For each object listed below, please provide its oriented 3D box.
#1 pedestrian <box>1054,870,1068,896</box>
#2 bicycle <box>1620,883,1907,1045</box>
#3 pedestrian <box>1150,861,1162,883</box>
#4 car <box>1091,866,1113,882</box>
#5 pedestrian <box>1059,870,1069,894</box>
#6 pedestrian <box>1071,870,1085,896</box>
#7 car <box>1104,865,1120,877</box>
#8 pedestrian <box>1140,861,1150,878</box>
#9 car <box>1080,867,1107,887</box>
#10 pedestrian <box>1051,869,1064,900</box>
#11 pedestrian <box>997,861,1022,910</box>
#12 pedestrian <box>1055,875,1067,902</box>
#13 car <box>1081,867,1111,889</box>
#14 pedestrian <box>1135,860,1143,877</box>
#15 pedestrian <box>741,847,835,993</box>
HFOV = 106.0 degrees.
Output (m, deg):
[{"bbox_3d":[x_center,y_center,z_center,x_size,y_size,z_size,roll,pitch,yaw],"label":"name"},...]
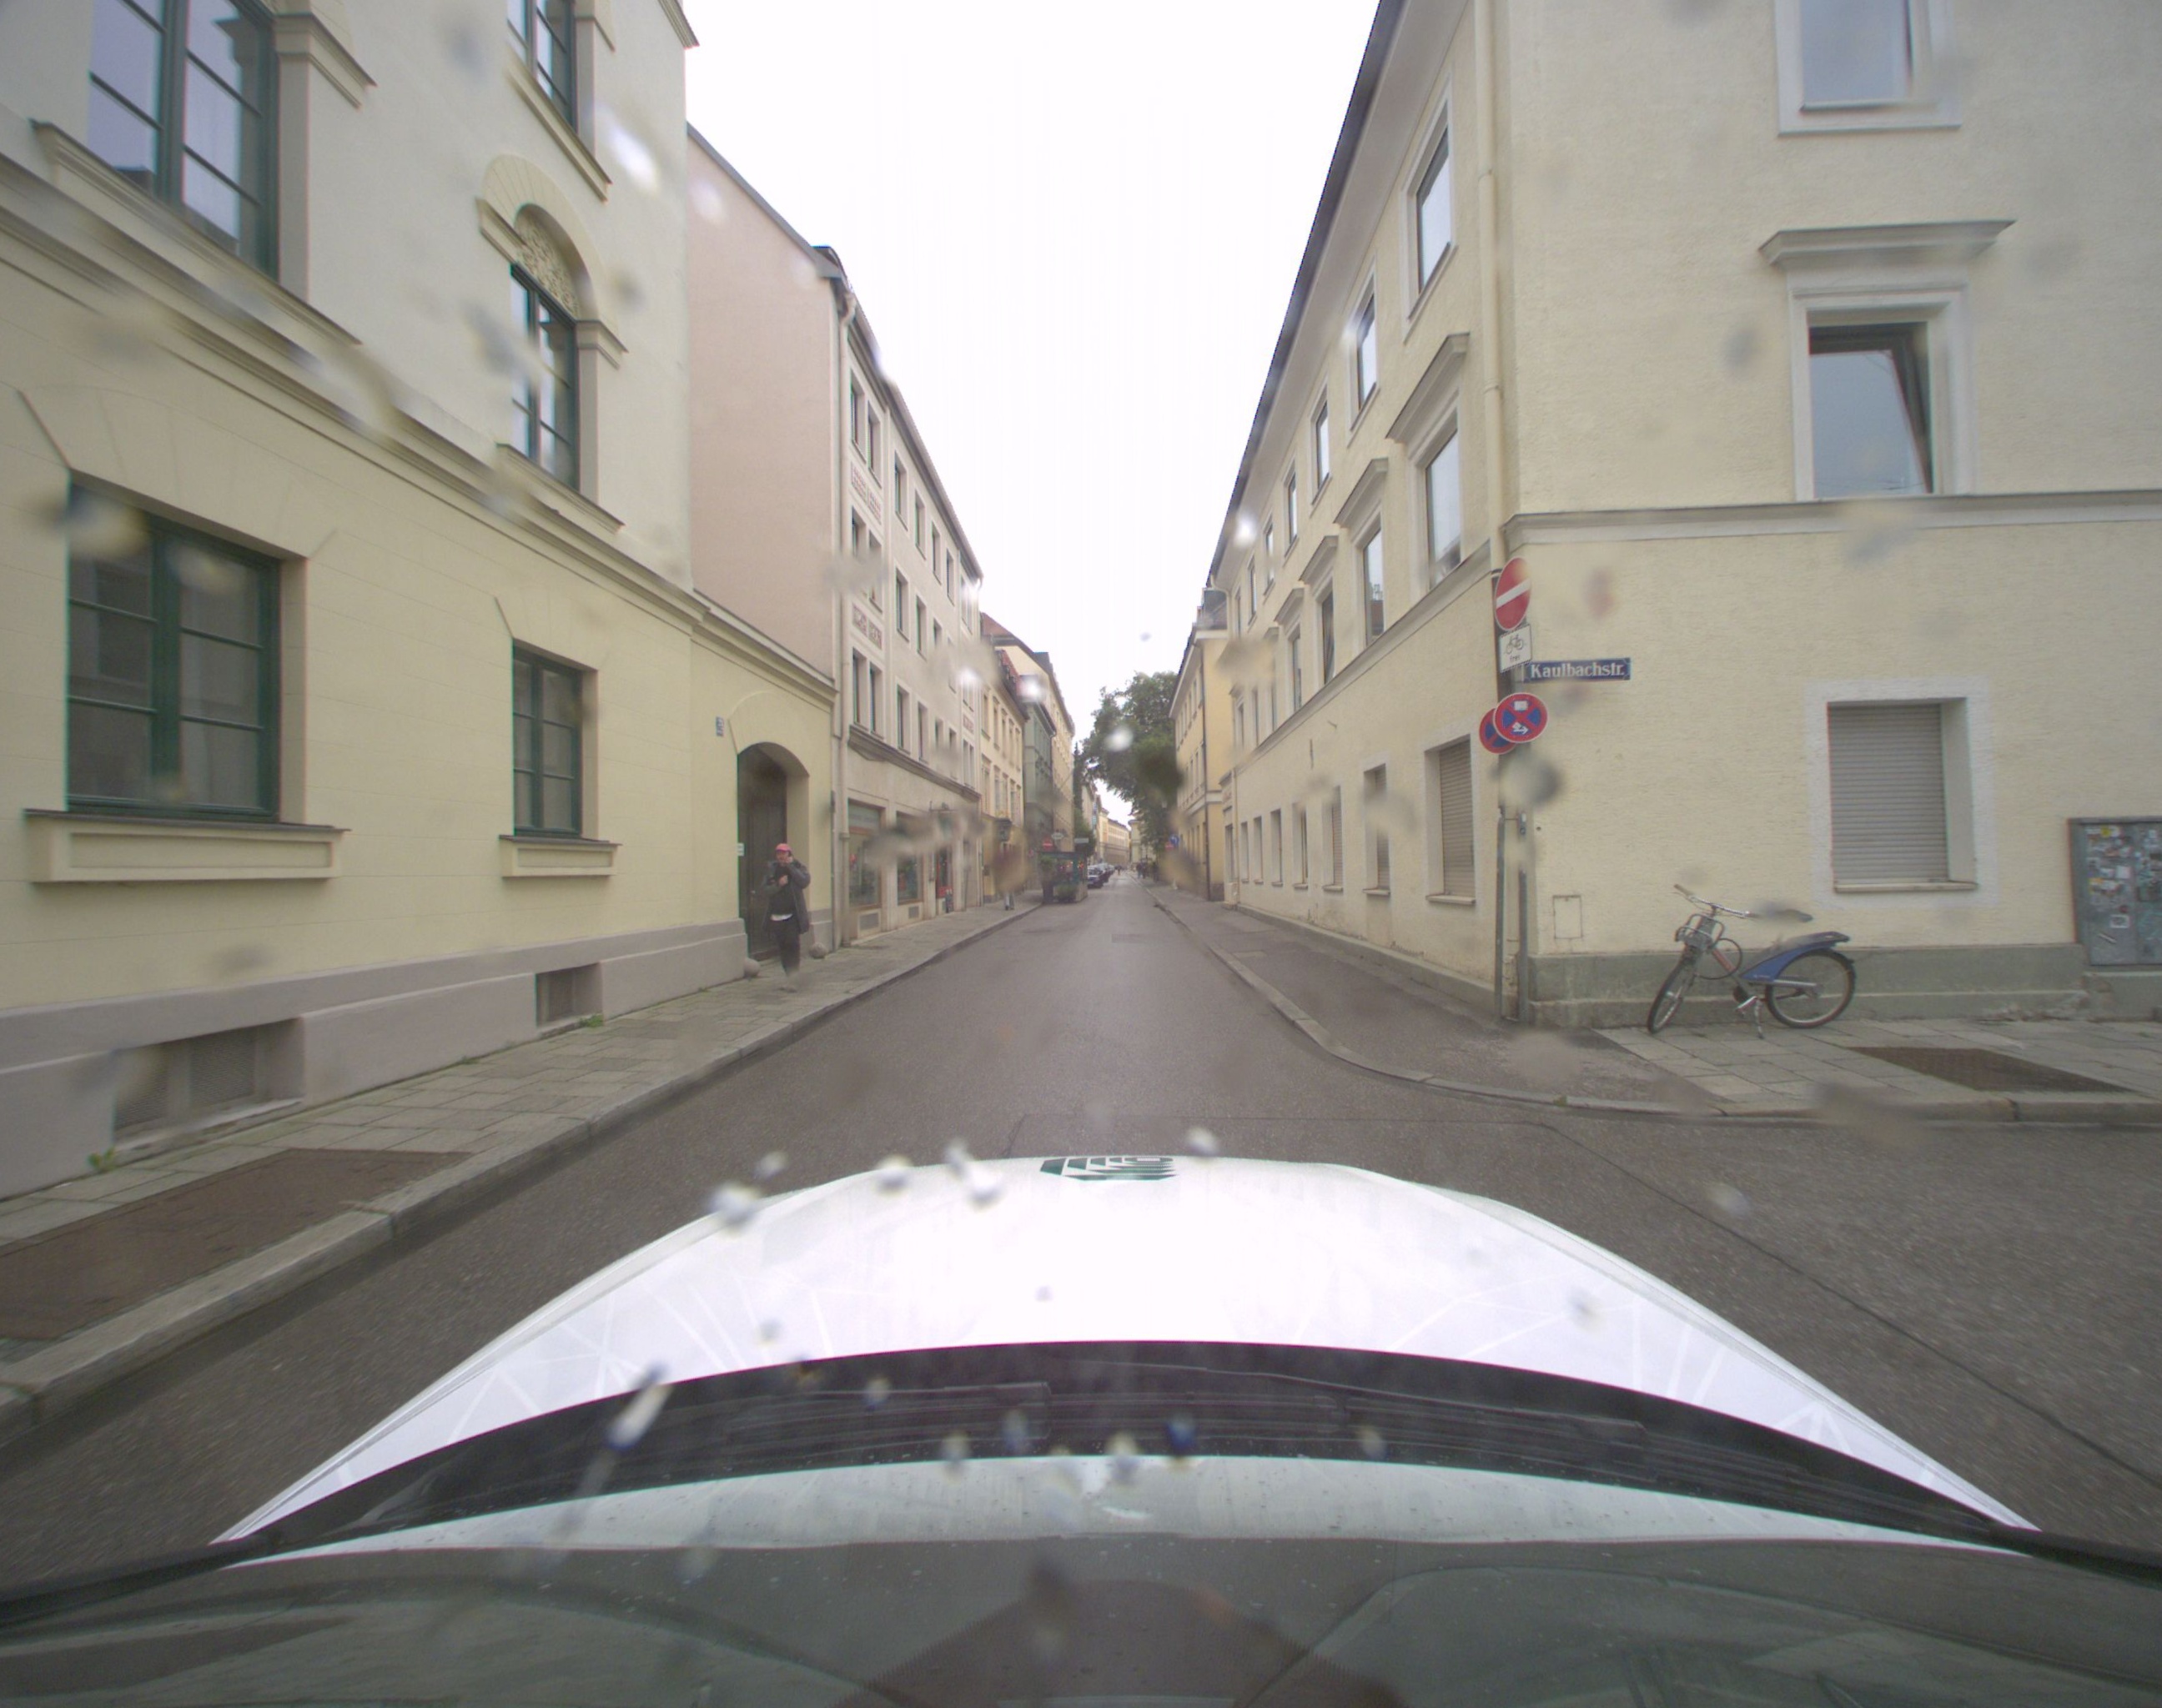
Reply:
[{"bbox_3d":[-1.012,1.476,41.389,0.671,1.327,0.696,0,-1,1],"label":"pedestrian"},{"bbox_3d":[5.377,0.851,6.482,1.750,1.144,0.586,-2,2,2],"label":"bicycle"},{"bbox_3d":[6.138,1.458,66.715,0.876,1.802,1.047,0,-1,3],"label":"pedestrian"},{"bbox_3d":[1.955,1.837,76.212,1.771,1.466,3.547,-1,-1,5],"label":"car"},{"bbox_3d":[-0.875,1.479,42.447,0.508,1.237,0.631,0,-1,1],"label":"pedestrian"},{"bbox_3d":[-0.131,1.469,41.221,0.671,1.327,0.696,0,-1,1],"label":"pedestrian"},{"bbox_3d":[4.055,2.208,105.898,1.771,1.466,3.547,-1,-1,5],"label":"car"},{"bbox_3d":[6.741,1.632,85.649,1.011,1.802,1.350,0,-1,3],"label":"pedestrian"},{"bbox_3d":[0.978,1.730,61.273,1.771,1.466,3.547,-1,-1,5],"label":"car"},{"bbox_3d":[-0.998,1.323,35.130,0.508,1.327,0.631,0,-1,1],"label":"pedestrian"},{"bbox_3d":[-2.575,1.118,29.292,0.763,1.708,0.785,-2,-1,0],"label":"pedestrian"},{"bbox_3d":[-0.872,1.530,36.111,0.508,1.187,0.631,0,-1,1],"label":"pedestrian"},{"bbox_3d":[1.057,1.664,56.506,1.771,1.466,3.668,-1,-1,5],"label":"car"},{"bbox_3d":[6.529,1.632,91.555,0.790,1.802,0.904,0,-1,3],"label":"pedestrian"},{"bbox_3d":[-3.690,0.788,10.332,0.806,1.755,0.990,-1,0,0],"label":"pedestrian"}]
